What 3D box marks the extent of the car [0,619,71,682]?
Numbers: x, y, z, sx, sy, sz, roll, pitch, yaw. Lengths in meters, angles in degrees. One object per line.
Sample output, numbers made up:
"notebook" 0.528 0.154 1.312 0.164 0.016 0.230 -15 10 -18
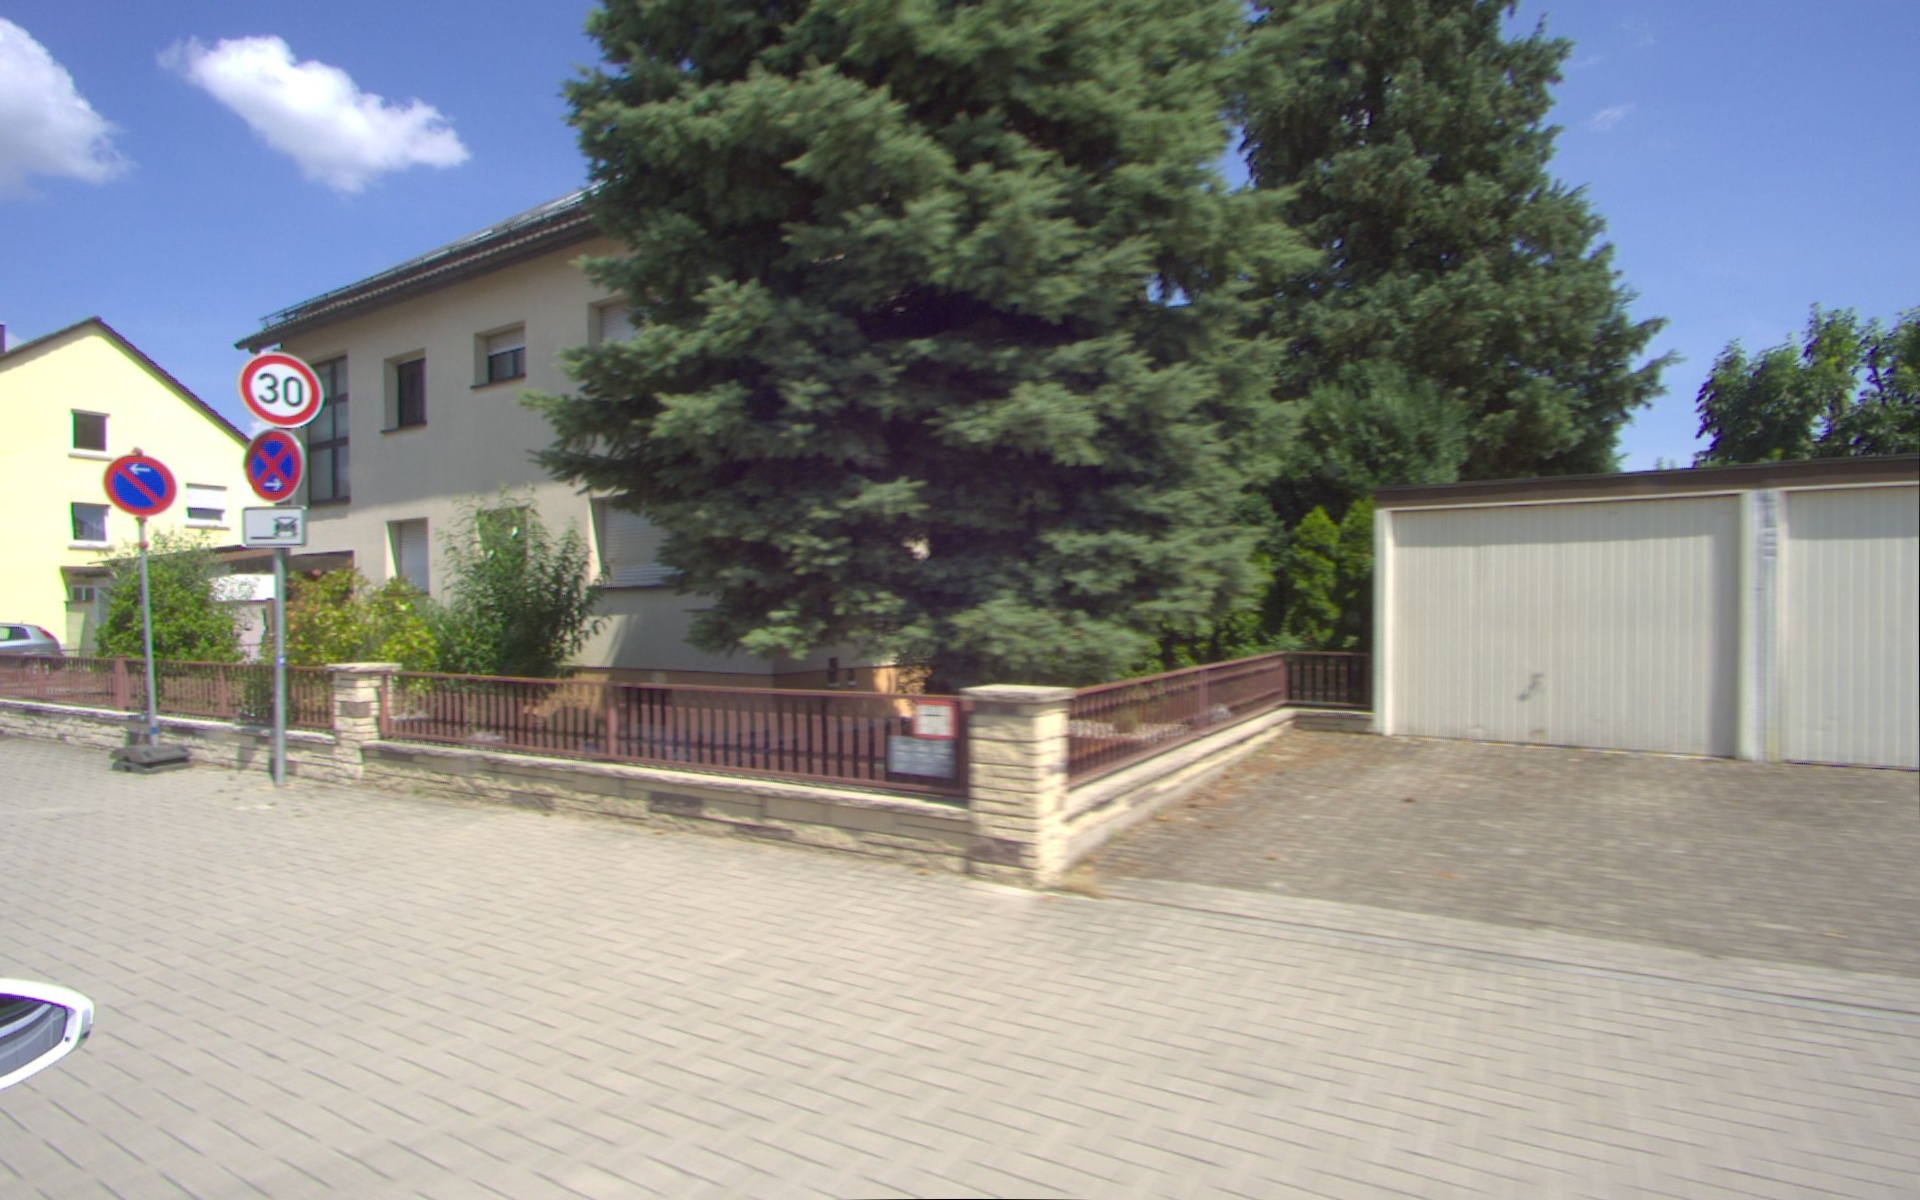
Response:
"car" -24.232 1.242 24.053 1.721 1.492 3.979 -1 0 32
